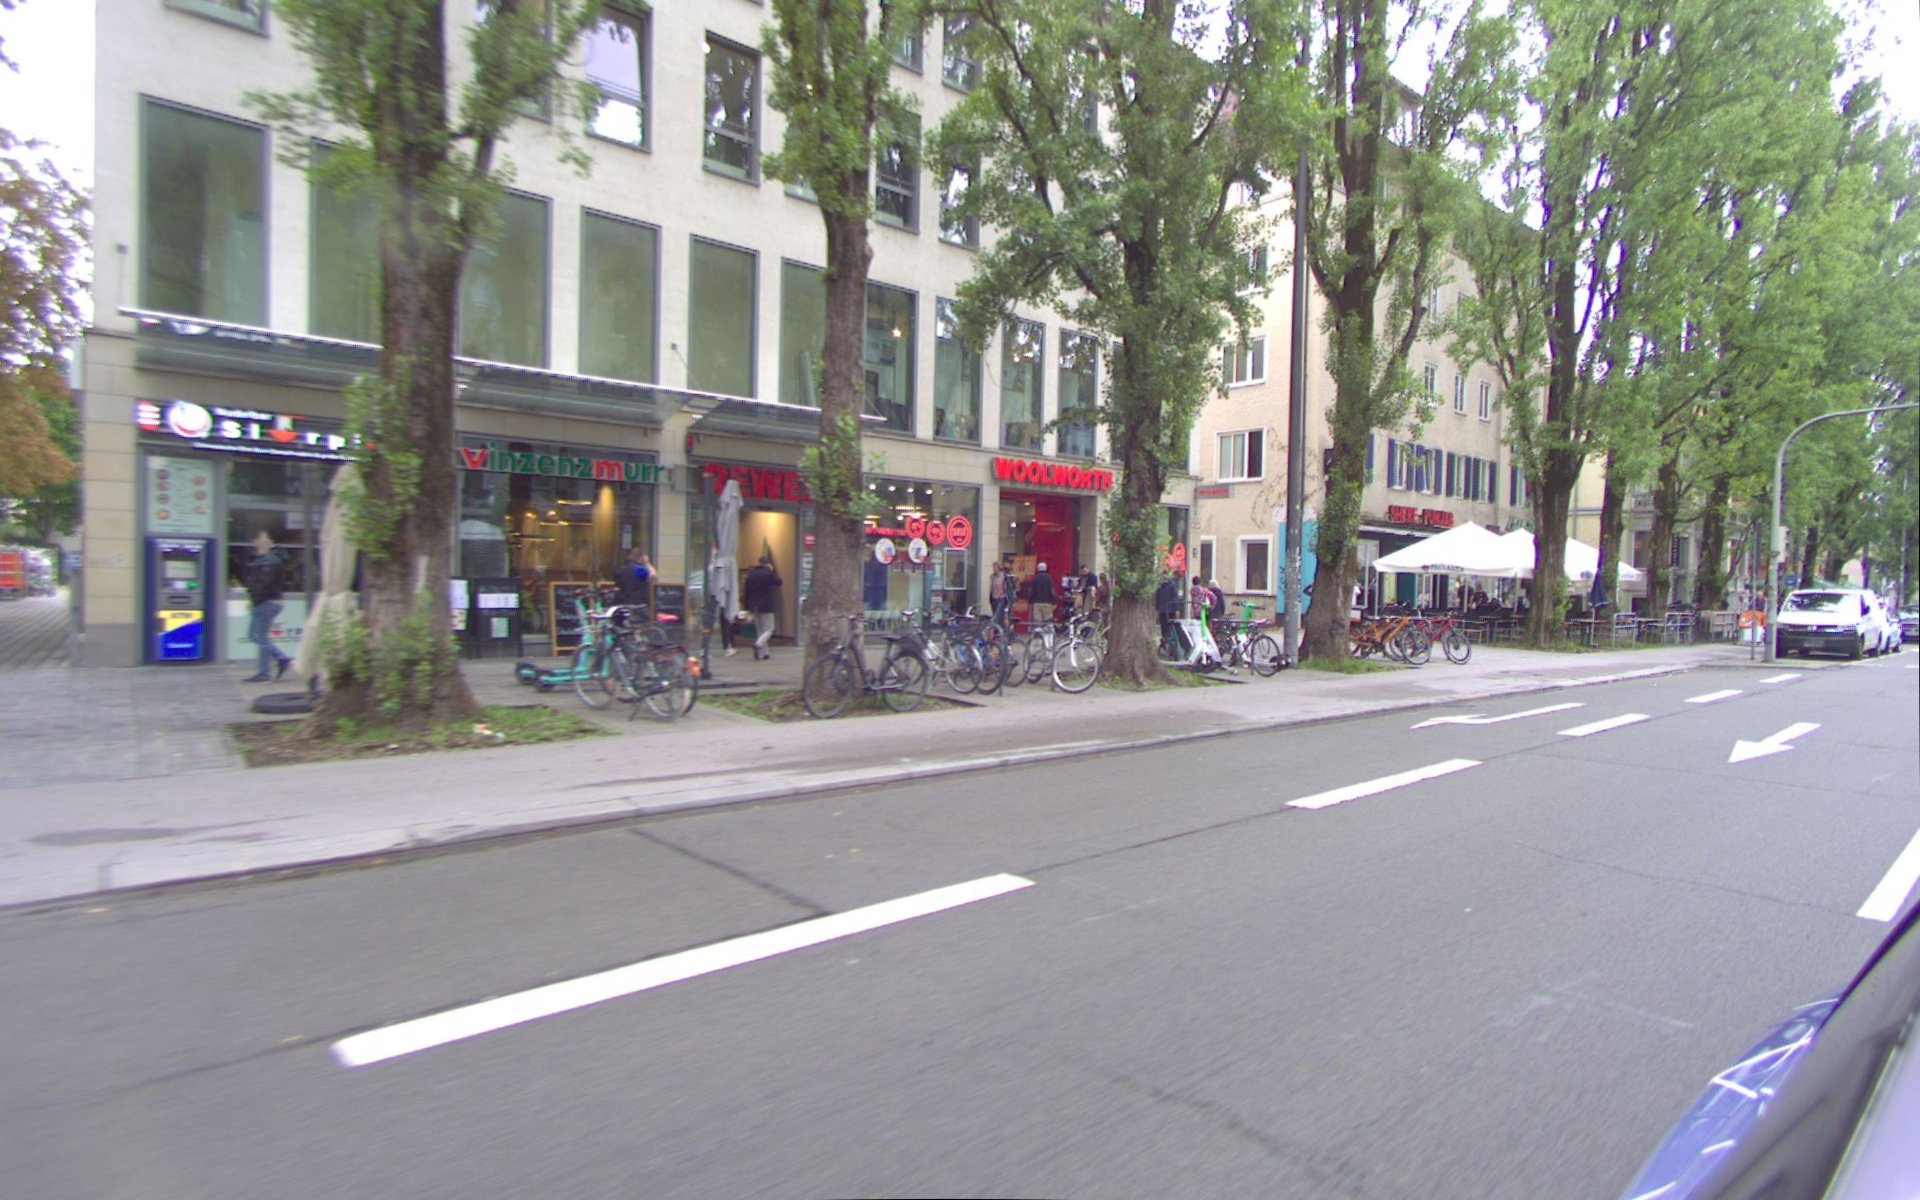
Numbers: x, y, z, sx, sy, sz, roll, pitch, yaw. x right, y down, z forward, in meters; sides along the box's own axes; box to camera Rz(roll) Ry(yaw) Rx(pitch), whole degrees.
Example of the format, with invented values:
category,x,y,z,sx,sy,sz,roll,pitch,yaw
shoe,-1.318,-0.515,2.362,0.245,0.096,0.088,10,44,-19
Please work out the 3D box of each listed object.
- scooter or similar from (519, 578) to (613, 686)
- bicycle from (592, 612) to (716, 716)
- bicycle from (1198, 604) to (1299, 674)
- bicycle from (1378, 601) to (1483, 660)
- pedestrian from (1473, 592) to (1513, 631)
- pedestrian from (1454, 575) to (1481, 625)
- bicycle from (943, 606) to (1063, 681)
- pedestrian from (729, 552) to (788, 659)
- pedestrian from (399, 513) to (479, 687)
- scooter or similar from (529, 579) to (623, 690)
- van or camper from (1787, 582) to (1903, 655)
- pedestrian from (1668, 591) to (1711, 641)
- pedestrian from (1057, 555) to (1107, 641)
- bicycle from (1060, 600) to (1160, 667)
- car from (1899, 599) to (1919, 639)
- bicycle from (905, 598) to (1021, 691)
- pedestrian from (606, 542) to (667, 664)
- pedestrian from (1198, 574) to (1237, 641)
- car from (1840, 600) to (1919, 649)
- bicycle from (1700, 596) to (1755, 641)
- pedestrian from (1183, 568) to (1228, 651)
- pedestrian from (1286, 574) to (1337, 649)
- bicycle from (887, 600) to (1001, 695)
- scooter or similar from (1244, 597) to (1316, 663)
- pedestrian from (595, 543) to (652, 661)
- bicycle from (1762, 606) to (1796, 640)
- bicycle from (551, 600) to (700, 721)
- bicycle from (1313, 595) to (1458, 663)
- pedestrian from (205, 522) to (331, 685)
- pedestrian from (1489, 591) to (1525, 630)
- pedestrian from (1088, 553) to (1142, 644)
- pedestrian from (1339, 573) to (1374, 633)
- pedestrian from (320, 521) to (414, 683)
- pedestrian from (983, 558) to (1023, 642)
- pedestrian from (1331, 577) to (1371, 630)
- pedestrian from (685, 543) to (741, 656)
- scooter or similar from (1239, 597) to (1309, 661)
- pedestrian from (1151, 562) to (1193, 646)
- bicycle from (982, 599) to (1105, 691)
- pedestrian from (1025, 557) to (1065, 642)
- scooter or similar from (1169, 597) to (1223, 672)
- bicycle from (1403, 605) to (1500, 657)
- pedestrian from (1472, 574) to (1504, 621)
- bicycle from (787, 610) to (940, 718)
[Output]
category,x,y,z,sx,sy,sz,roll,pitch,yaw
scooter or similar,-4.862,0.377,12.525,1.018,1.289,0.331,0,1,-41
bicycle,-3.333,0.654,10.905,1.997,0.957,0.282,2,1,42
bicycle,4.871,0.639,17.215,0.385,1.022,1.848,1,2,-31
bicycle,9.968,0.622,21.485,0.674,1.141,1.902,1,1,-40
pedestrian,17.171,0.359,32.614,1.004,1.231,0.775,1,0,-37
pedestrian,18.054,-0.008,35.993,0.668,1.741,0.629,1,0,-40
bicycle,0.605,0.611,15.065,1.997,1.000,0.387,2,1,42
pedestrian,-3.355,0.076,16.864,0.654,1.731,0.683,2,1,32
pedestrian,-6.231,-0.010,12.107,0.709,1.996,0.658,1,1,-38
scooter or similar,-4.609,0.396,12.179,1.018,1.289,0.248,0,1,-41
van or camper,25.220,0.482,28.795,4.484,1.929,1.795,0,1,-40
pedestrian,26.240,0.562,36.432,0.819,1.788,0.945,1,0,-2
pedestrian,2.723,-0.040,22.611,0.806,1.877,0.753,1,0,-39
bicycle,2.580,0.552,17.299,1.968,1.076,0.393,0,2,-37
car,38.969,0.745,40.595,3.538,1.546,1.475,0,1,-40
bicycle,0.015,0.568,13.577,1.658,1.121,0.391,2,1,39
pedestrian,-4.917,0.039,15.390,0.661,1.807,0.658,1,1,-39
pedestrian,6.023,0.162,23.665,0.684,1.539,0.566,1,0,-37
car,29.171,0.747,32.017,3.421,1.414,1.475,0,1,-40
bicycle,25.454,0.579,33.604,0.819,1.429,2.579,1,0,23
pedestrian,5.077,0.191,20.916,0.737,1.669,0.548,1,0,-37
pedestrian,7.908,0.253,22.755,0.778,1.608,0.712,1,2,-38
bicycle,-0.232,0.590,13.257,1.669,1.131,0.282,2,1,38
scooter or similar,5.869,0.547,18.564,1.221,1.184,0.286,0,0,2
pedestrian,-5.325,0.023,16.008,0.661,1.807,0.566,1,1,-39
bicycle,27.405,0.753,33.846,2.462,1.092,0.568,0,1,-43
bicycle,-3.456,0.577,10.372,1.991,1.096,0.282,2,1,34
bicycle,8.697,0.560,20.801,0.948,1.230,2.577,1,2,-40
pedestrian,-8.213,0.020,12.038,0.806,1.837,0.971,2,1,28
pedestrian,18.015,0.341,33.327,1.004,1.231,0.668,1,0,-37
pedestrian,3.293,-0.047,21.562,0.806,1.893,0.754,1,1,-37
pedestrian,11.440,0.083,29.200,0.680,1.685,0.667,1,0,-41
pedestrian,-7.171,0.016,12.239,0.889,1.874,0.658,1,1,-39
pedestrian,0.931,0.002,21.934,0.630,1.790,0.547,1,0,-40
pedestrian,12.167,0.105,31.481,0.998,1.624,0.764,1,0,-40
pedestrian,-4.142,-0.013,16.961,0.679,1.842,0.622,1,1,-42
scooter or similar,5.872,0.530,18.955,1.220,1.184,0.307,0,0,-1
pedestrian,4.546,0.084,21.682,0.684,1.764,0.566,1,0,-37
bicycle,1.131,0.590,14.048,1.864,1.149,0.335,2,1,42
pedestrian,1.830,-0.008,21.798,0.592,1.790,0.632,1,0,40
scooter or similar,3.926,0.549,16.917,0.395,1.184,1.247,0,1,-11
bicycle,10.682,0.658,22.044,0.494,1.022,1.843,1,1,-40
pedestrian,18.493,-0.088,35.453,0.858,1.597,0.696,1,0,-40
bicycle,-1.030,0.672,11.323,0.433,1.074,1.976,2,1,39
